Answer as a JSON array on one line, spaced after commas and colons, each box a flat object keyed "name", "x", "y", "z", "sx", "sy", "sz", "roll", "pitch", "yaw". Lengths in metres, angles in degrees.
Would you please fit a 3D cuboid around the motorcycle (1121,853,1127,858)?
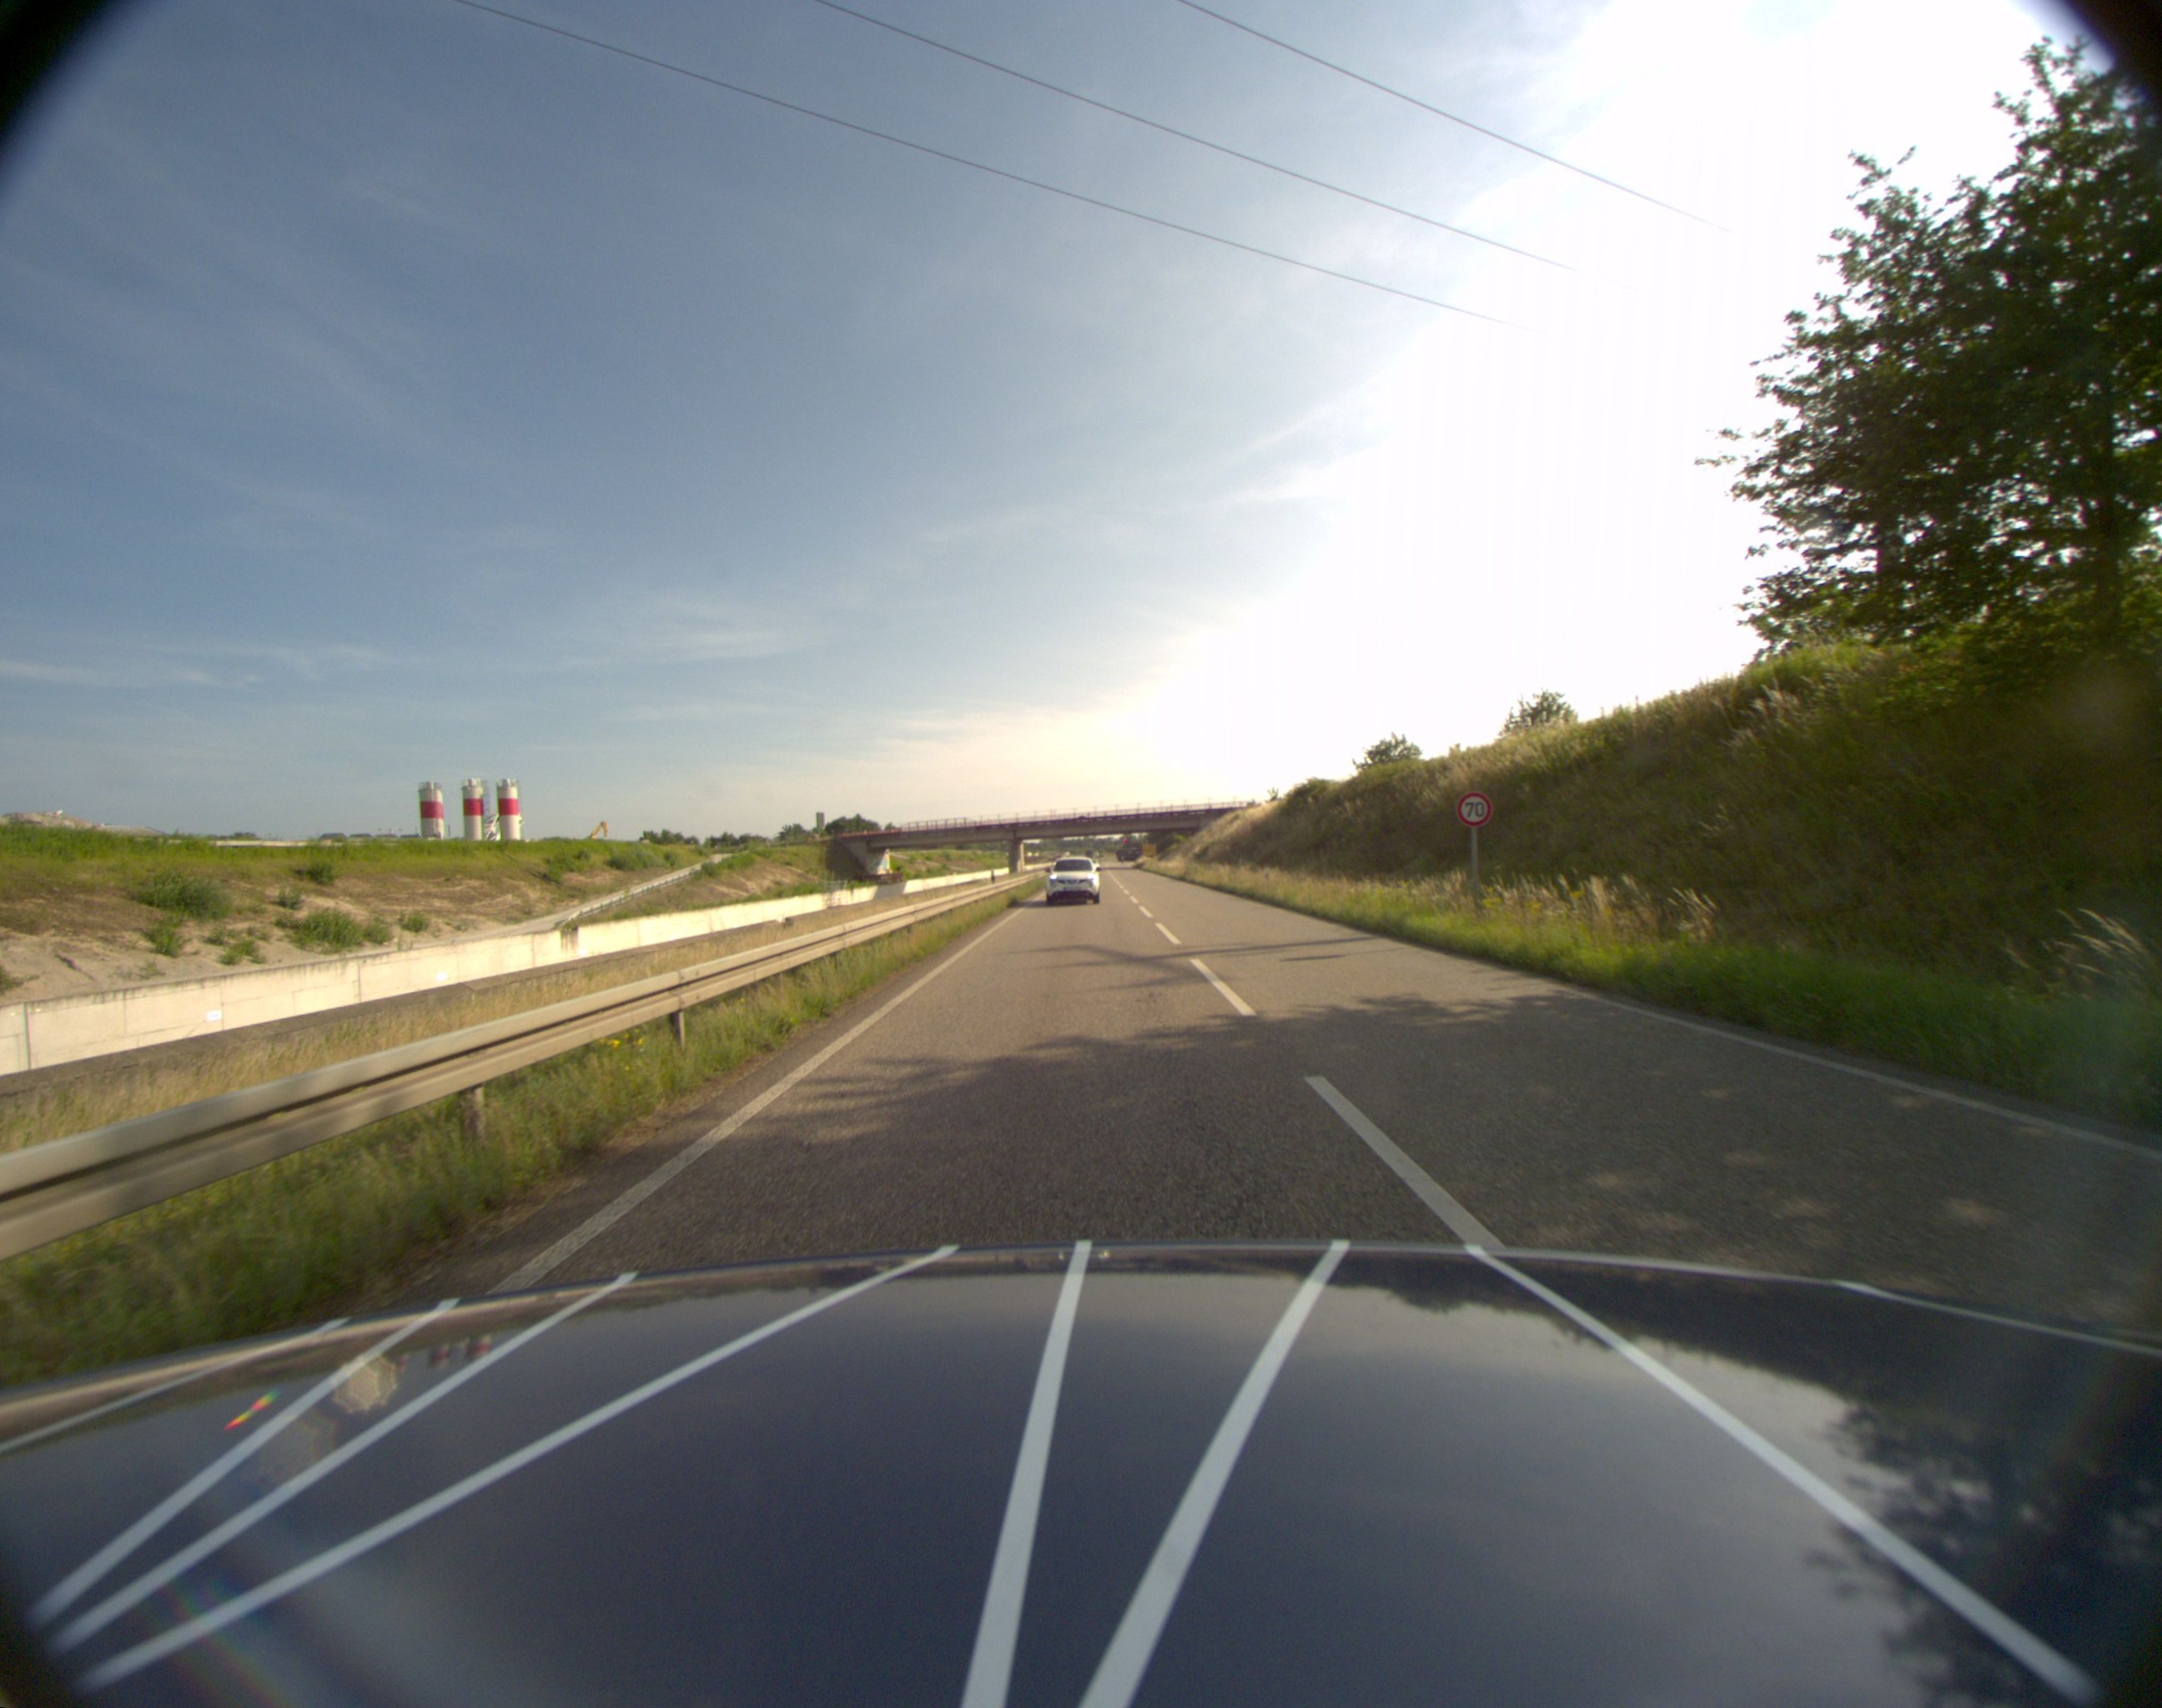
[{"name": "motorcycle", "x": 9.582, "y": 0.330, "z": 170.006, "sx": 1.044, "sy": 1.111, "sz": 2.132, "roll": -1, "pitch": 0, "yaw": 0}]

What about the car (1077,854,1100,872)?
[{"name": "car", "x": 0.722, "y": 0.778, "z": 68.048, "sx": 1.908, "sy": 1.512, "sz": 4.465, "roll": -2, "pitch": 0, "yaw": 1}]

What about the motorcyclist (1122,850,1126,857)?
[{"name": "motorcyclist", "x": 9.572, "y": -0.118, "z": 169.985, "sx": 0.881, "sy": 1.443, "sz": 1.284, "roll": -1, "pitch": 1, "yaw": 0}]

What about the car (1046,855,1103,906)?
[{"name": "car", "x": -0.273, "y": 0.855, "z": 26.810, "sx": 1.789, "sy": 1.593, "sz": 4.571, "roll": -2, "pitch": 0, "yaw": -2}]

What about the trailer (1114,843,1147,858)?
[{"name": "trailer", "x": 15.453, "y": -1.029, "z": 238.856, "sx": 3.564, "sy": 4.089, "sz": 13.770, "roll": -3, "pitch": 0, "yaw": -27}]

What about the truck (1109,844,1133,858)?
[{"name": "truck", "x": 12.846, "y": -0.925, "z": 244.307, "sx": 3.564, "sy": 4.089, "sz": 8.383, "roll": -3, "pitch": 0, "yaw": -27}]
